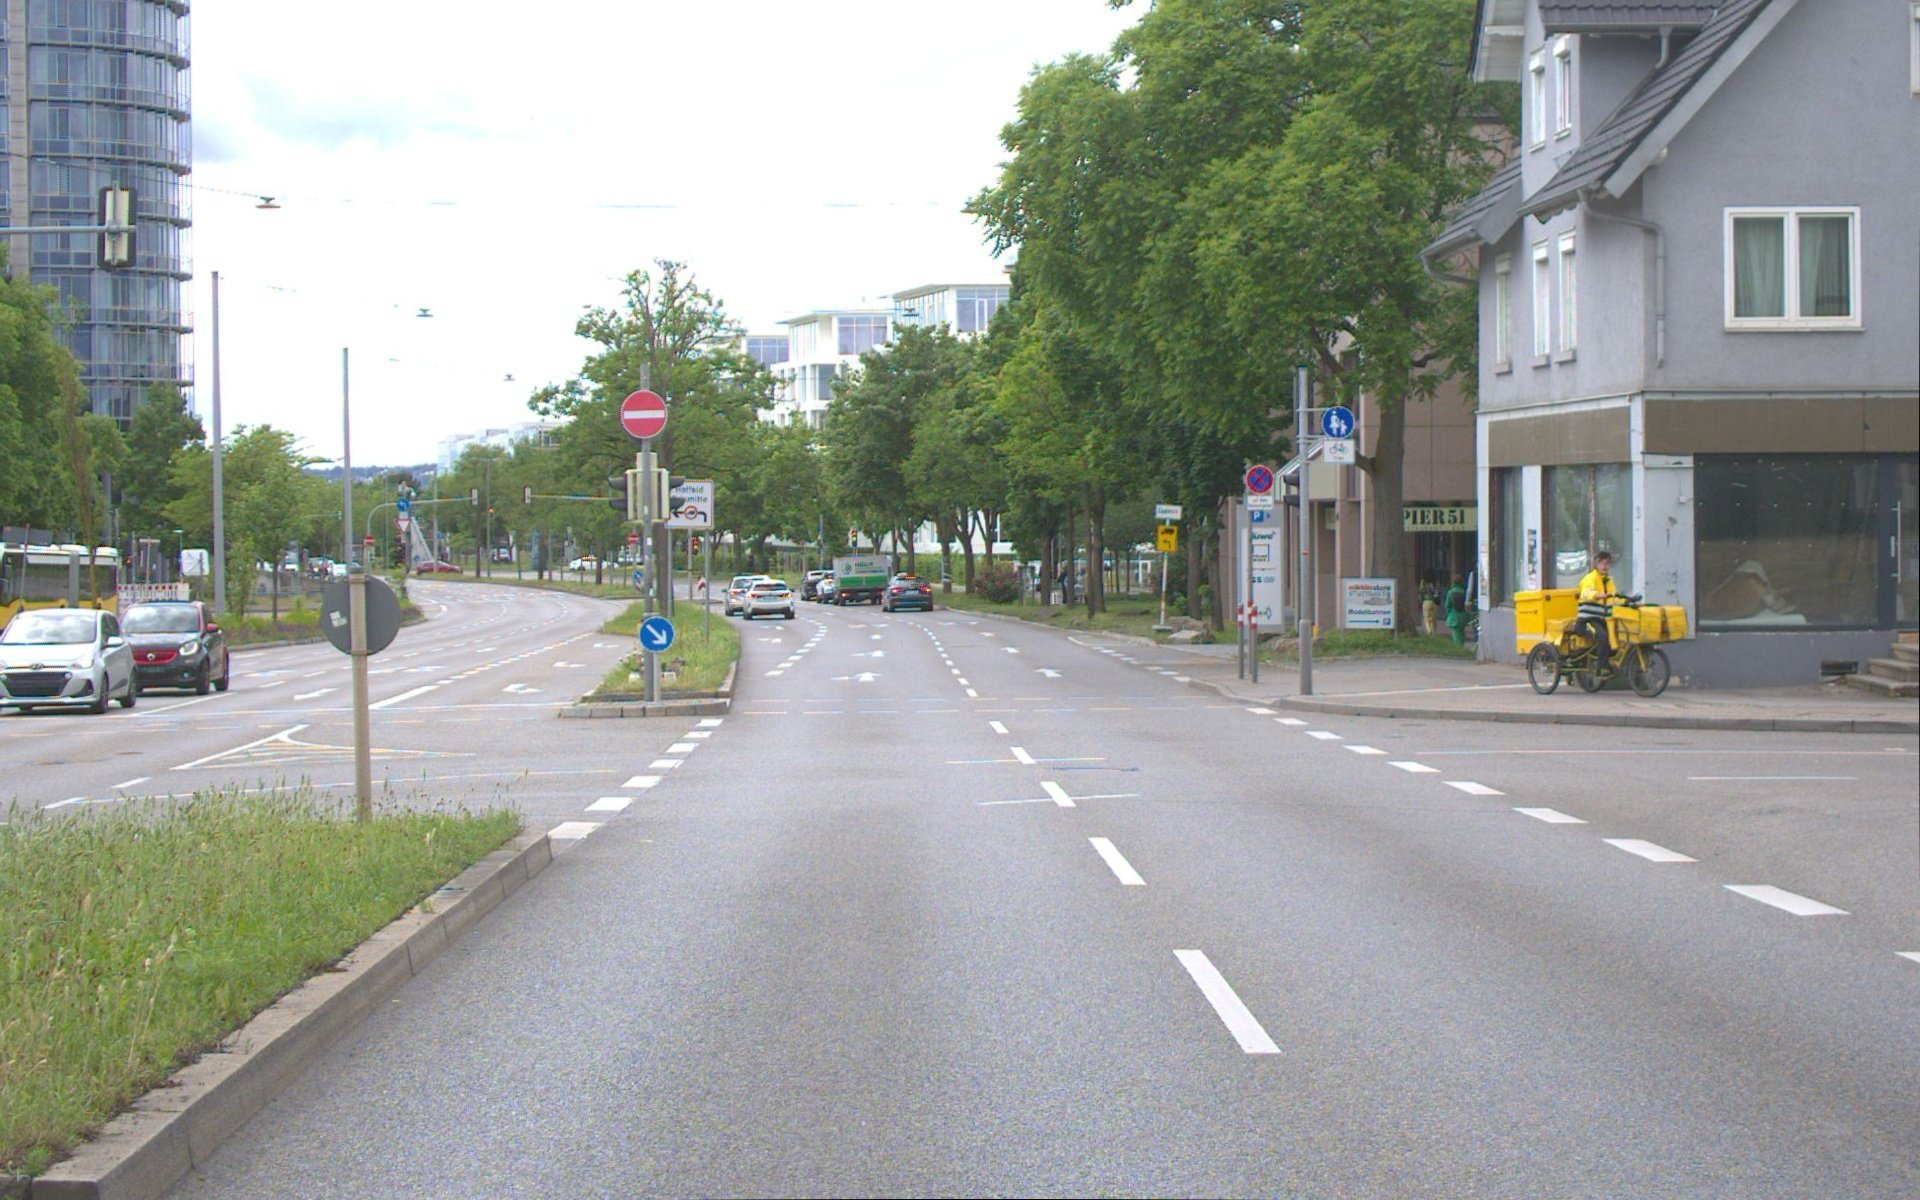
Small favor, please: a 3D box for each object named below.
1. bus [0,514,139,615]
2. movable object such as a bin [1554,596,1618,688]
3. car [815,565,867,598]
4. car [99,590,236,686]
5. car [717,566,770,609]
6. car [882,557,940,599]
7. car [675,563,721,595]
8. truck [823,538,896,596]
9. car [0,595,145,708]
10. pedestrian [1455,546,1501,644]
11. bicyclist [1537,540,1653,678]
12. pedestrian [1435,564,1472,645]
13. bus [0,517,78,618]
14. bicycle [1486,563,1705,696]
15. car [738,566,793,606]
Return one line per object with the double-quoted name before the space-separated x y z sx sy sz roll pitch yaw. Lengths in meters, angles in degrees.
"bus" -31.928 -1.266 122.849 3.031 3.444 9.912 1 1 -2
"movable object such as a bin" 7.668 0.510 42.125 0.626 1.100 0.710 0 0 -2
"car" -5.647 -0.886 162.699 1.993 1.503 4.001 -1 1 -9
"car" -12.985 0.601 56.484 1.658 1.503 3.769 -1 0 -5
"car" -8.732 -0.516 138.267 1.993 1.666 4.001 -1 0 -5
"car" -1.945 -0.863 134.881 1.993 1.590 4.001 -1 1 -4
"car" -13.000 -1.047 170.871 1.993 1.503 4.000 -1 0 -1
"truck" -4.567 -1.469 155.341 2.859 2.511 6.288 -1 0 -5
"car" -12.771 0.703 48.817 1.745 1.460 3.791 0 1 -4
"pedestrian" 9.788 -0.091 64.983 0.657 1.820 0.843 -2 0 -1
"bicyclist" 7.473 0.100 40.481 0.960 1.593 0.938 -1 0 -26
"pedestrian" 9.599 0.089 66.872 0.561 1.544 0.544 -2 0 -1
"bus" -31.488 -1.094 112.466 3.083 3.152 10.739 1 1 -4
"bicycle" 7.463 0.338 40.518 0.960 1.503 2.685 -1 0 -32
"car" -7.243 -0.508 127.958 1.863 1.444 4.001 -1 0 -6
